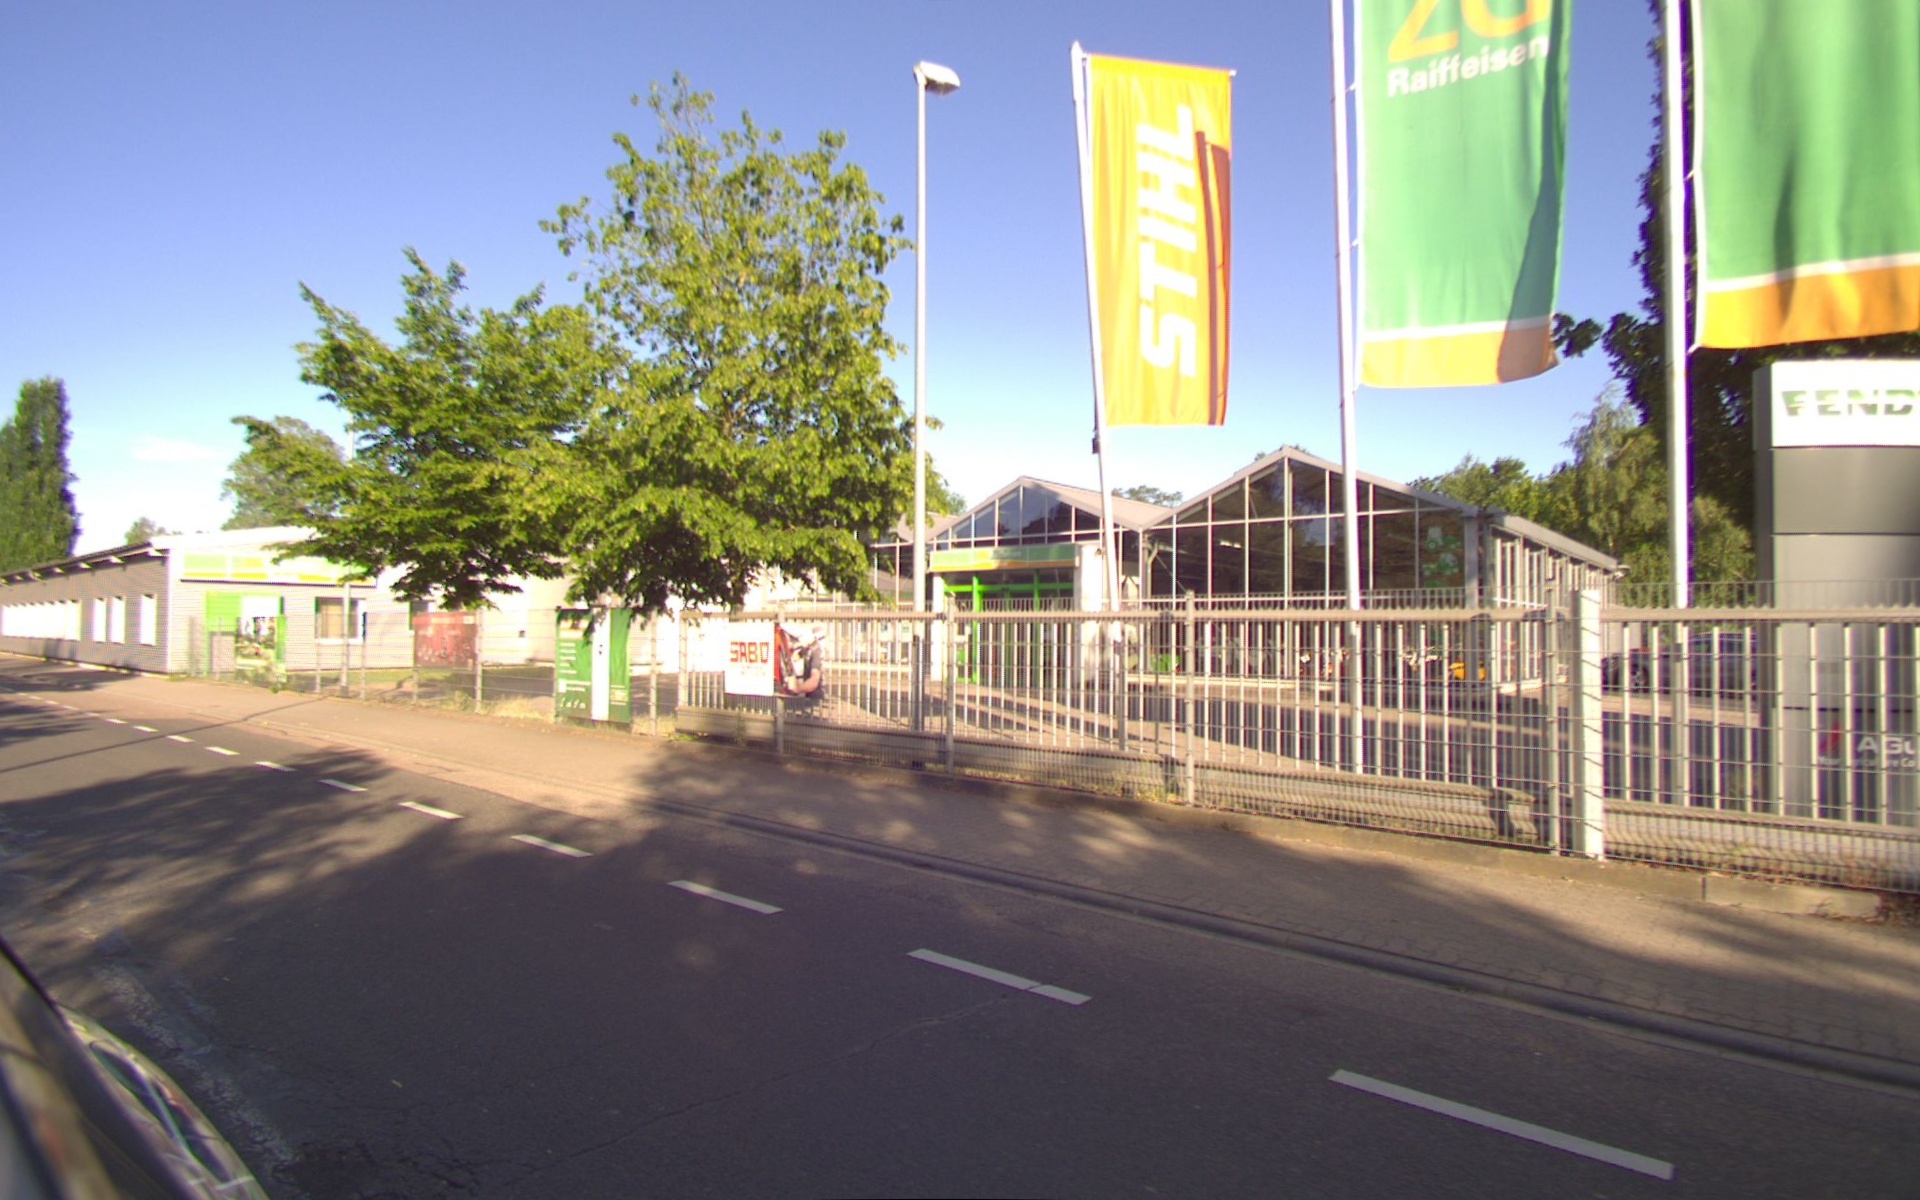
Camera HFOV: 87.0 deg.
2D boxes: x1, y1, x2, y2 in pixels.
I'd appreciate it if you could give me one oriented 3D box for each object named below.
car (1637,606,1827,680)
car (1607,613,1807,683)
[{"bbox_3d":[21.059,1.115,27.724,3.996,1.752,1.861,2,0,39],"label":"car"},{"bbox_3d":[19.154,1.169,26.064,3.996,1.521,1.861,2,0,39],"label":"car"}]
